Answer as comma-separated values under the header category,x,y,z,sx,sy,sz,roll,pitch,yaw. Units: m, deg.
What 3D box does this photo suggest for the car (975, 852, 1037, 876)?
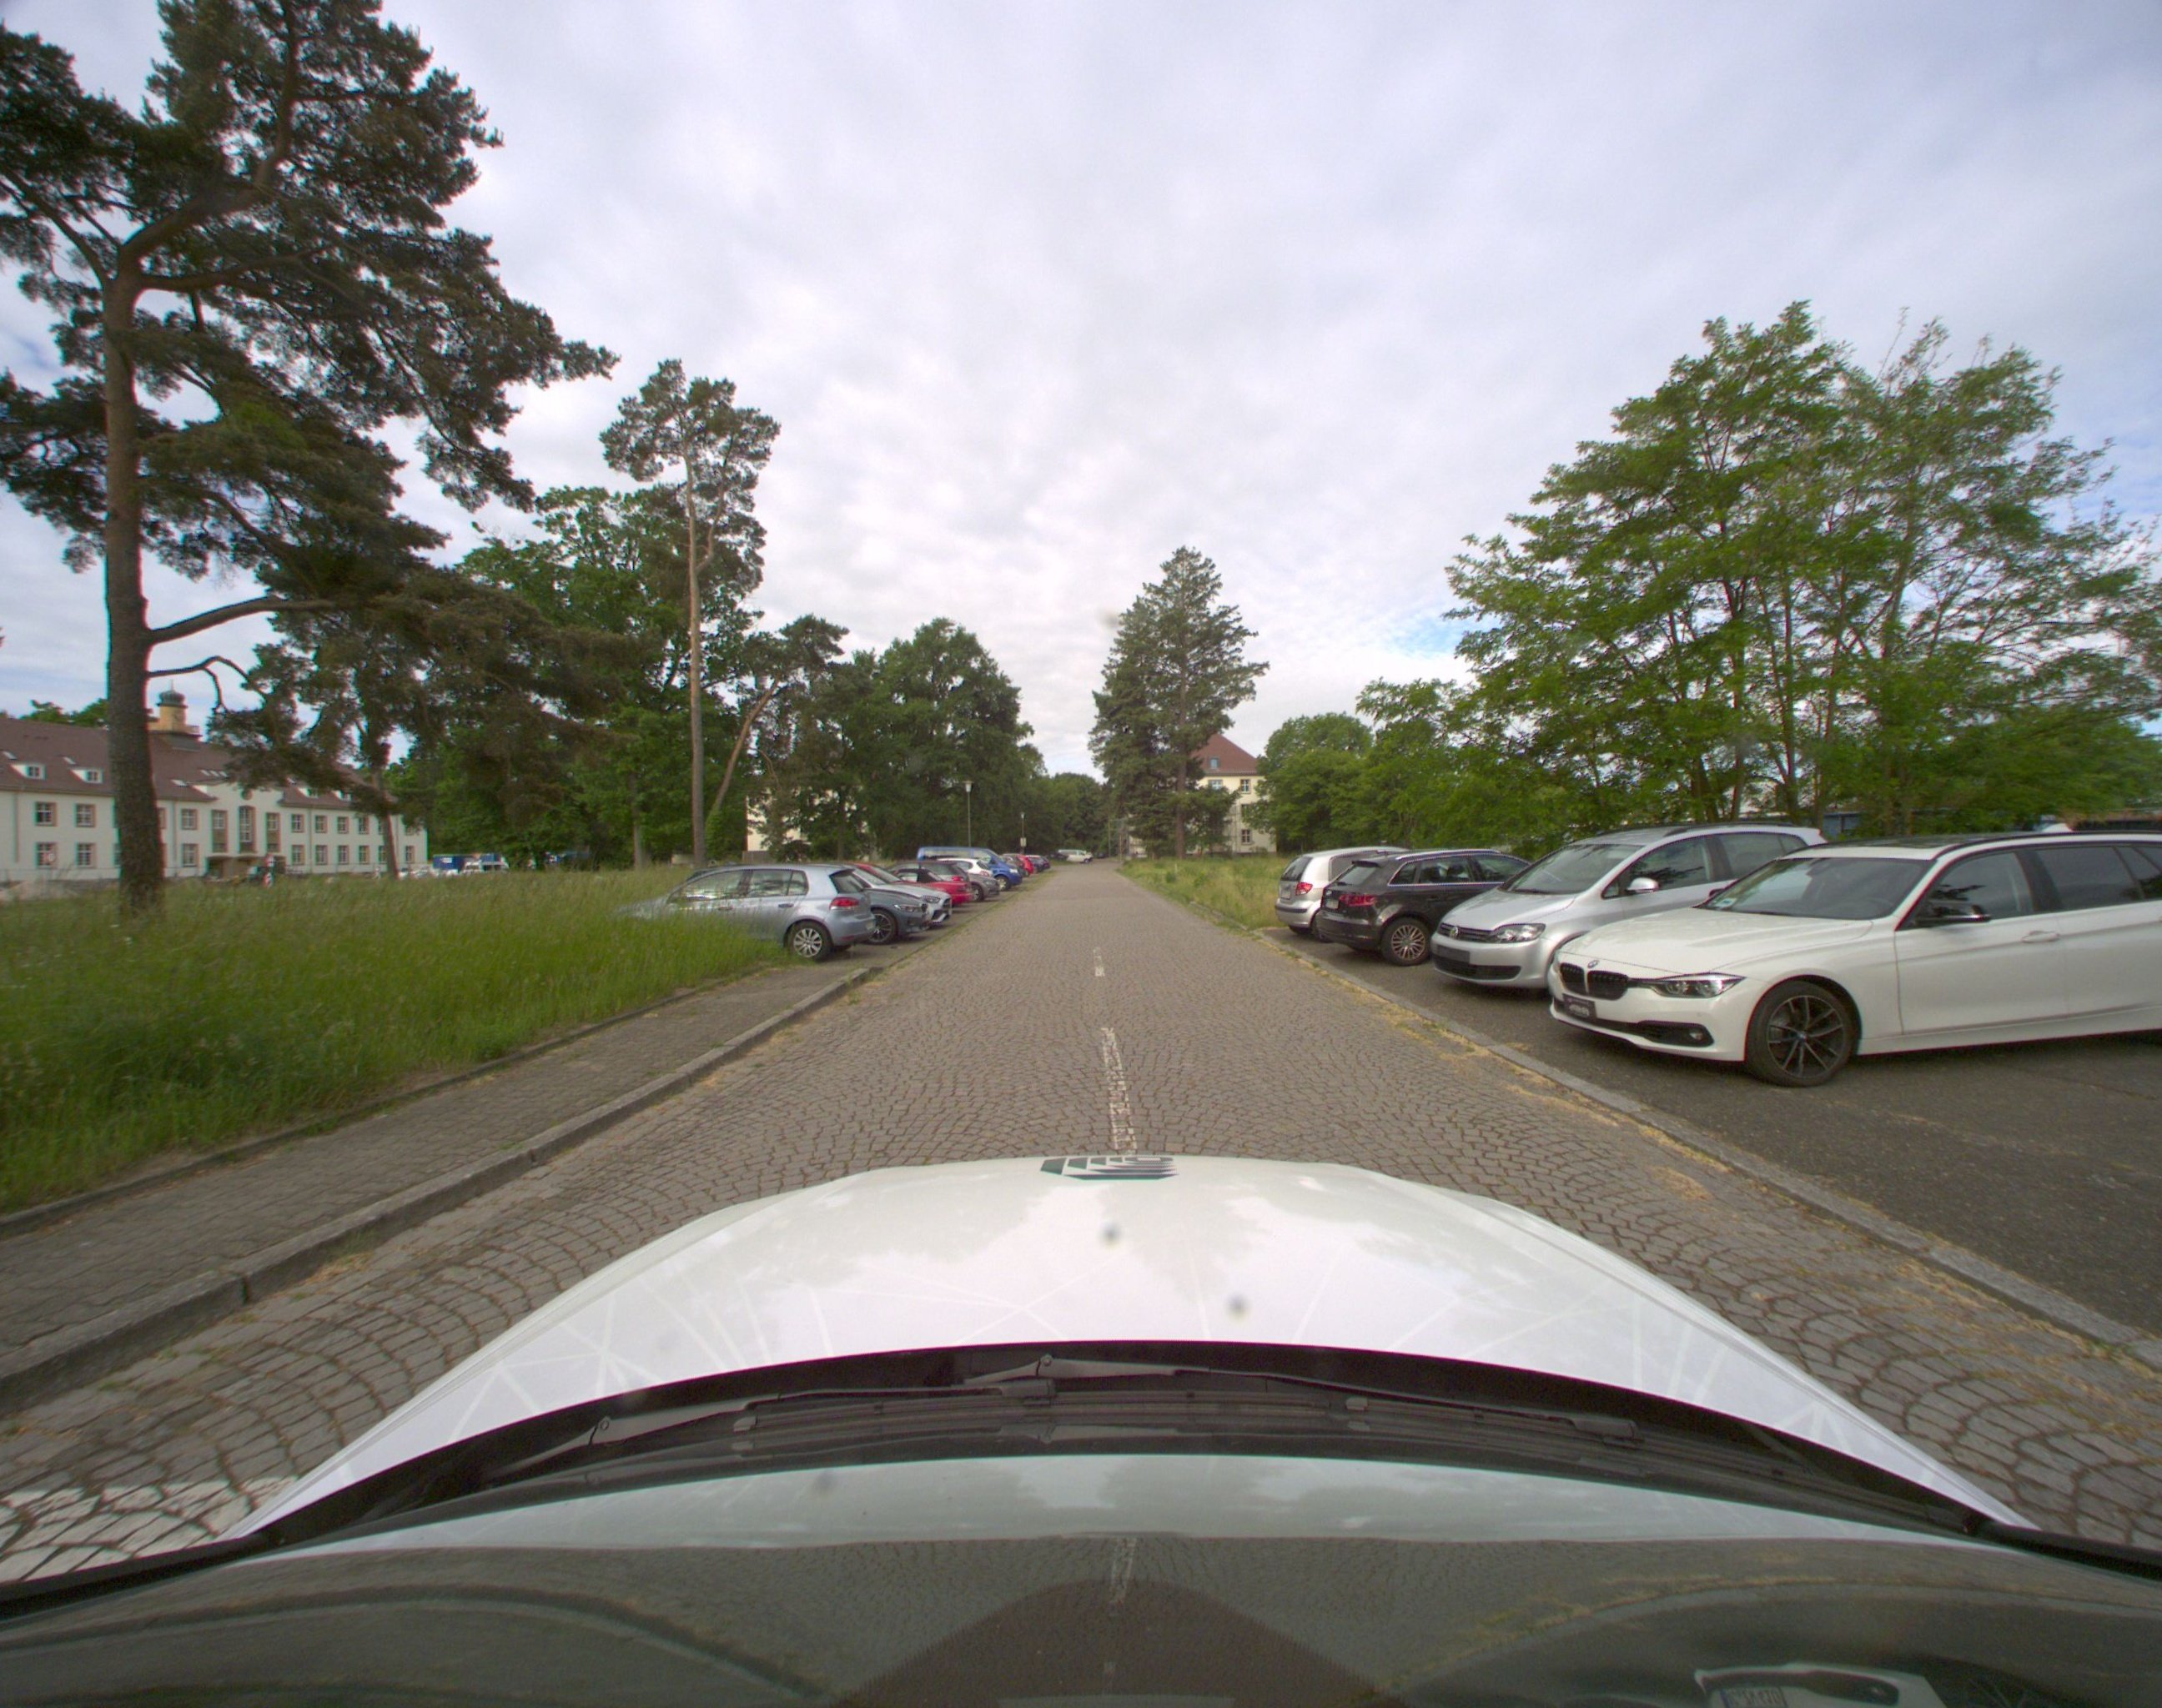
category,x,y,z,sx,sy,sz,roll,pitch,yaw
car,-5.114,0.672,55.902,4.044,1.525,1.904,-1,0,-2

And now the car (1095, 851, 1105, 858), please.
category,x,y,z,sx,sy,sz,roll,pitch,yaw
car,4.327,0.165,186.069,1.946,1.521,3.998,-1,0,-1

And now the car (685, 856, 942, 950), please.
category,x,y,z,sx,sy,sz,roll,pitch,yaw
car,-4.923,0.877,15.525,4.241,1.548,1.933,-1,0,-4

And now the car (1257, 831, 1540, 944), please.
category,x,y,z,sx,sy,sz,roll,pitch,yaw
car,5.298,0.519,13.943,4.064,1.515,1.802,-4,0,-3

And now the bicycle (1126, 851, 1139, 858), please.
category,x,y,z,sx,sy,sz,roll,pitch,yaw
bicycle,8.642,0.086,137.045,2.232,1.254,0.778,-1,0,2

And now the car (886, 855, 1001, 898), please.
category,x,y,z,sx,sy,sz,roll,pitch,yaw
car,-5.231,0.844,31.357,4.054,1.497,1.846,-1,0,0

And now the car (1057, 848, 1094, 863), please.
category,x,y,z,sx,sy,sz,roll,pitch,yaw
car,-0.823,0.194,119.731,5.222,2.168,1.998,-1,0,-3

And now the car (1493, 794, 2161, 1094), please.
category,x,y,z,sx,sy,sz,roll,pitch,yaw
car,5.764,0.498,5.970,4.482,1.565,1.903,-4,0,-3

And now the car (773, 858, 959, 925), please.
category,x,y,z,sx,sy,sz,roll,pitch,yaw
car,-5.309,0.911,20.561,4.154,1.476,1.864,-1,0,-1

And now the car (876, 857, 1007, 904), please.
category,x,y,z,sx,sy,sz,roll,pitch,yaw
car,-4.791,0.897,28.374,4.151,1.491,1.865,-1,0,1

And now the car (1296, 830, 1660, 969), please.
category,x,y,z,sx,sy,sz,roll,pitch,yaw
car,5.286,0.564,11.233,4.064,1.453,1.883,-4,0,-3

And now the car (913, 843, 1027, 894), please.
category,x,y,z,sx,sy,sz,roll,pitch,yaw
car,-4.921,0.631,36.653,4.768,2.122,2.114,-1,0,-1

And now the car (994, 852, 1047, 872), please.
category,x,y,z,sx,sy,sz,roll,pitch,yaw
car,-4.873,0.678,66.175,4.216,1.577,1.886,0,0,-2

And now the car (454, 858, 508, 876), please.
category,x,y,z,sx,sy,sz,roll,pitch,yaw
car,-67.913,1.444,92.310,1.985,2.014,5.234,-2,0,3

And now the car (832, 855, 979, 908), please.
category,x,y,z,sx,sy,sz,roll,pitch,yaw
car,-5.425,0.841,25.587,4.152,1.482,1.846,-1,0,0

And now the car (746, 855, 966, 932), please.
category,x,y,z,sx,sy,sz,roll,pitch,yaw
car,-4.903,0.835,18.269,4.363,1.507,1.934,-1,0,-3

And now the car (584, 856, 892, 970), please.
category,x,y,z,sx,sy,sz,roll,pitch,yaw
car,-5.191,0.849,12.791,3.976,1.543,1.904,-1,0,-2

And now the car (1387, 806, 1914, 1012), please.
category,x,y,z,sx,sy,sz,roll,pitch,yaw
car,5.708,0.487,8.522,4.232,1.596,1.883,-4,0,-4

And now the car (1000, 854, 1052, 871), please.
category,x,y,z,sx,sy,sz,roll,pitch,yaw
car,-4.748,0.710,70.874,4.287,1.461,1.975,0,0,1

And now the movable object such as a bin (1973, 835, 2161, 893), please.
category,x,y,z,sx,sy,sz,roll,pitch,yaw
movable object such as a bin,18.279,0.179,15.095,2.676,0.988,0.852,-1,0,-3

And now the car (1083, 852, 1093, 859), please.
category,x,y,z,sx,sy,sz,roll,pitch,yaw
car,1.657,0.239,185.745,2.113,1.521,3.998,-1,0,-1

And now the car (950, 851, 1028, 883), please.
category,x,y,z,sx,sy,sz,roll,pitch,yaw
car,-5.078,0.715,45.532,4.156,1.622,1.985,-1,0,-3

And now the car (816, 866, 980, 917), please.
category,x,y,z,sx,sy,sz,roll,pitch,yaw
car,-5.062,1.030,22.936,4.151,1.266,1.831,-1,0,1
